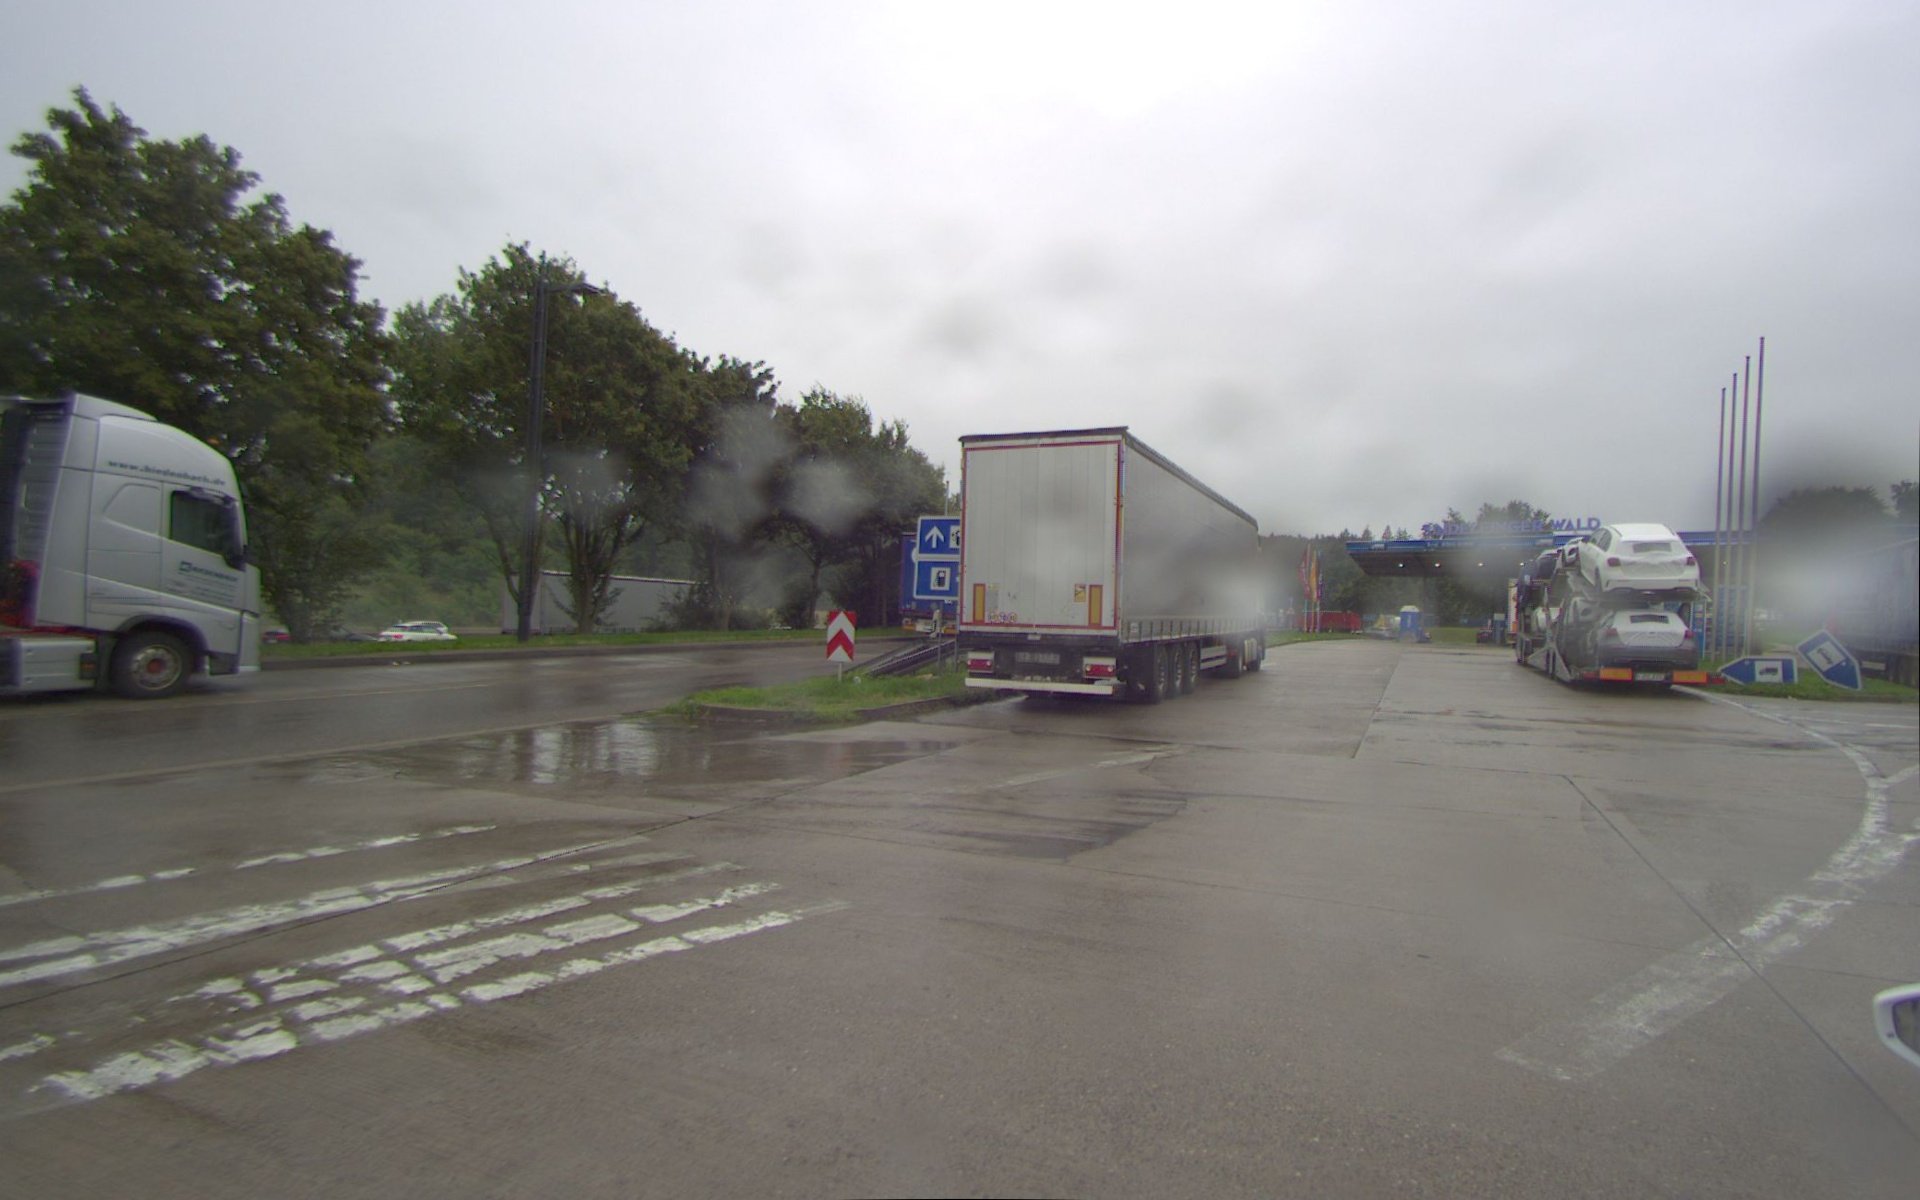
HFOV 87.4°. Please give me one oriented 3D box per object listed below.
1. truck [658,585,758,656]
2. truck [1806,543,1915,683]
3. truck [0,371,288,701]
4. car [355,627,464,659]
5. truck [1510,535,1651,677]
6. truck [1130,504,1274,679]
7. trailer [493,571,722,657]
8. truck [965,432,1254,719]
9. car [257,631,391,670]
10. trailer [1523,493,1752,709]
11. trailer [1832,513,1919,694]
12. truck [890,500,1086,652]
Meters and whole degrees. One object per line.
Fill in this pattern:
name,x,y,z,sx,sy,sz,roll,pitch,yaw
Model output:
truck,-15.244,1.301,61.164,2.826,4.105,5.933,0,-2,23
truck,31.758,0.478,35.567,1.960,4.609,4.784,2,0,32
truck,-12.745,-0.796,12.815,2.869,3.956,6.311,1,0,25
car,-27.371,2.161,50.139,1.850,1.500,4.500,1,-2,25
truck,21.047,0.184,34.573,3.184,4.244,8.434,2,0,26
truck,6.513,-0.148,26.233,2.333,3.925,7.007,1,0,24
trailer,-18.248,0.988,53.945,2.848,4.034,14.116,0,-3,22
truck,3.716,-0.254,19.943,2.333,3.925,12.446,1,-1,24
car,-26.591,2.106,42.187,1.849,1.500,4.502,1,-2,22
trailer,16.602,0.036,25.612,3.166,4.245,11.516,2,0,26
trailer,27.892,0.254,29.387,1.965,4.619,9.786,2,-1,32
truck,1.599,-0.793,41.497,4.712,5.376,11.070,2,0,20
